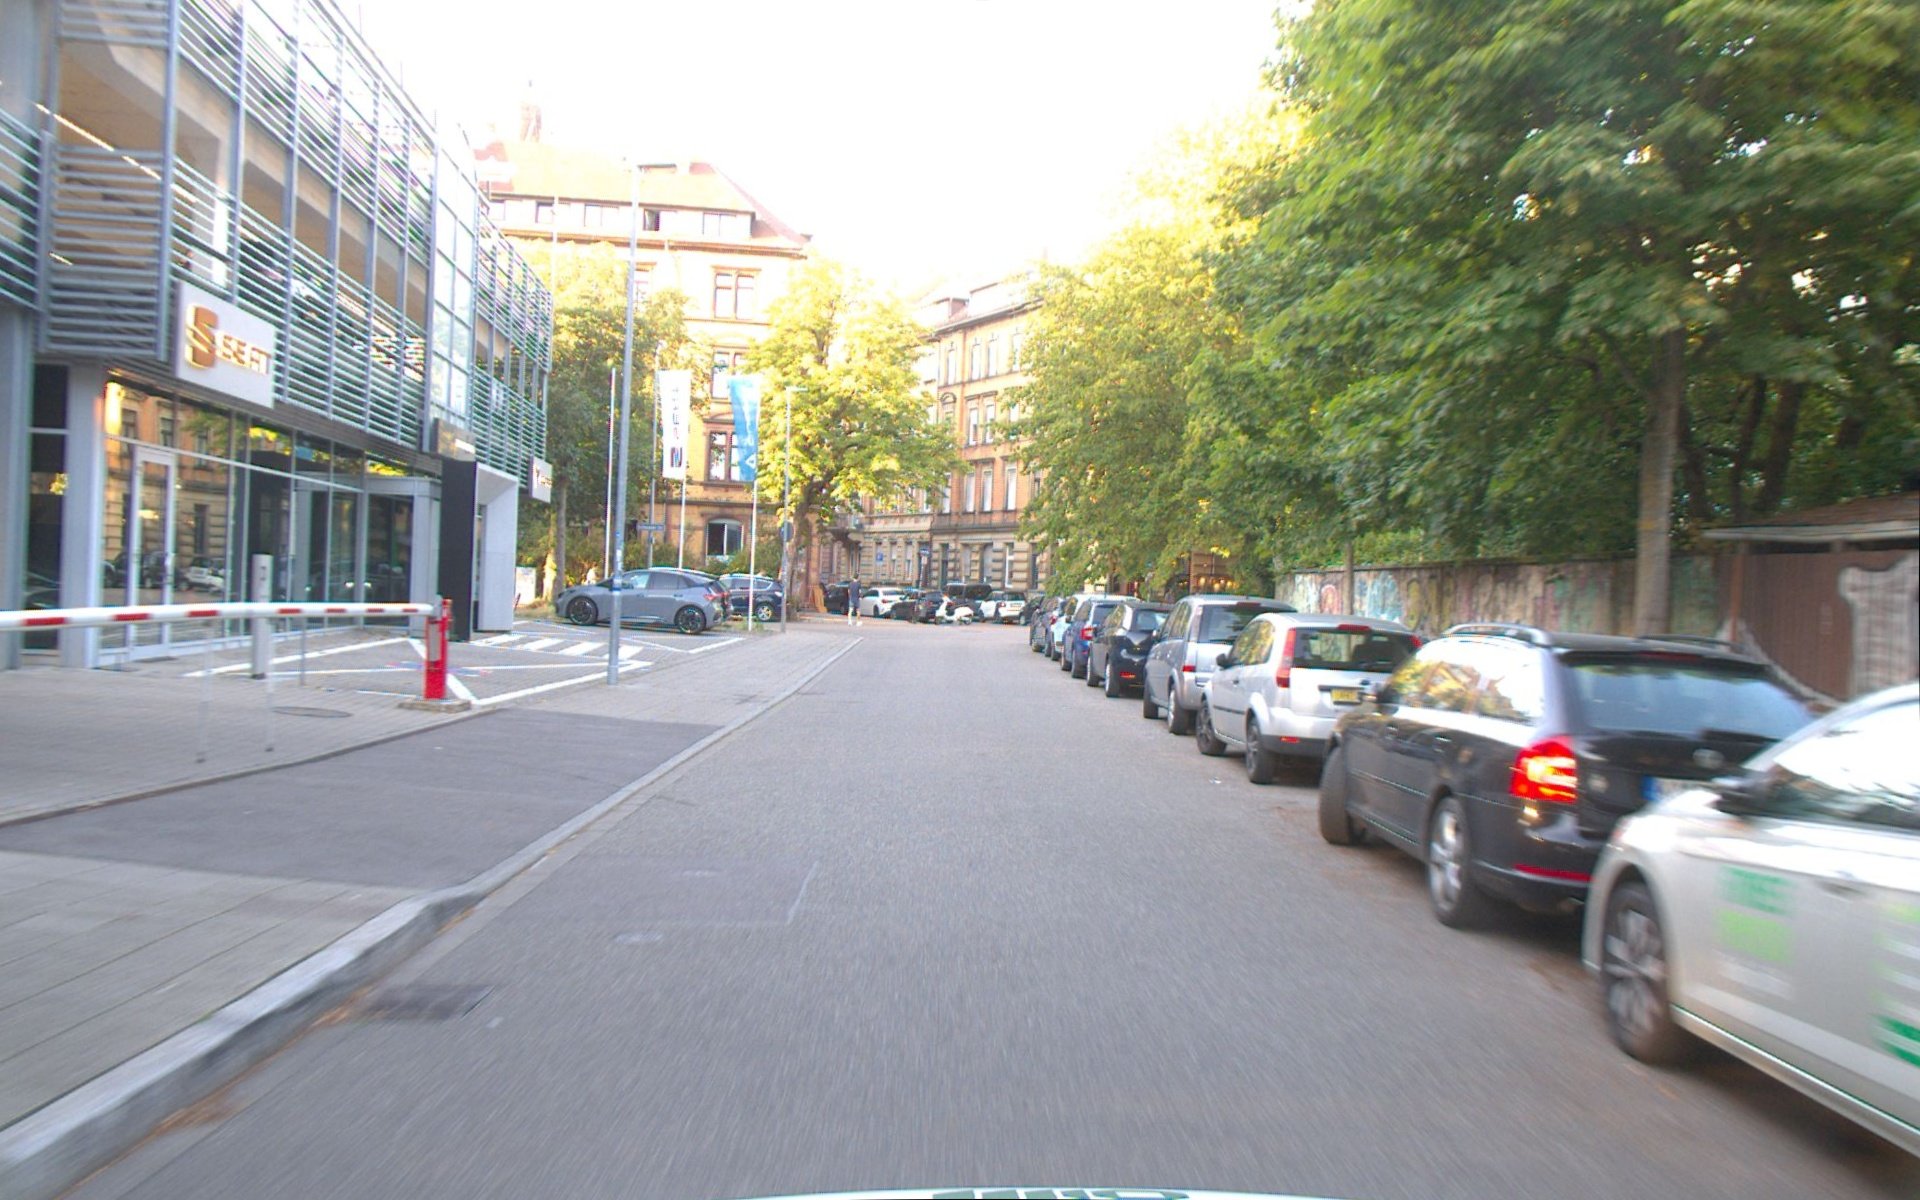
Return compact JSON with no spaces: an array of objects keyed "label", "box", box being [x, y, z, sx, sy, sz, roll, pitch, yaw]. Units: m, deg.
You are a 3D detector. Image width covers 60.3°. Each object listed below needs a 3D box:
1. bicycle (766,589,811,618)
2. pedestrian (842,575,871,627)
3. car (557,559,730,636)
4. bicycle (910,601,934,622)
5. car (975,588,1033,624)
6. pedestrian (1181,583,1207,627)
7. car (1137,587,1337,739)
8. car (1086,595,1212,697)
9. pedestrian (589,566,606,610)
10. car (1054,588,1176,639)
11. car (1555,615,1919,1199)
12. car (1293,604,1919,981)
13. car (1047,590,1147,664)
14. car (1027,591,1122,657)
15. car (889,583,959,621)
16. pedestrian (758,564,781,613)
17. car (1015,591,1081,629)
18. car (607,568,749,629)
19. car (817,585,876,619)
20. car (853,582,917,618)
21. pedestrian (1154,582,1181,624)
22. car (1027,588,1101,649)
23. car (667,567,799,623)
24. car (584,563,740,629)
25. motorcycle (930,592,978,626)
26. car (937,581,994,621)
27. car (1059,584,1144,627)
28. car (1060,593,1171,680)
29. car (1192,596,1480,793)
[{"label":"bicycle","box":[-6.643,0.143,64.138,1.650,1.046,0.442,2,1,-25]},{"label":"pedestrian","box":[-3.764,0.025,60.040,0.724,1.835,1.115,2,1,-21]},{"label":"car","box":[-8.091,-0.094,42.575,4.047,1.645,1.912,4,1,-3]},{"label":"bicycle","box":[-1.559,0.462,67.535,0.416,0.836,1.462,2,1,21]},{"label":"car","box":[2.040,0.265,77.990,1.653,1.552,2.746,3,1,-25]},{"label":"pedestrian","box":[9.985,0.212,70.605,0.760,1.835,0.840,2,1,-16]},{"label":"car","box":[3.309,0.693,20.448,1.723,1.632,3.873,2,0,-1]},{"label":"car","box":[3.075,0.705,27.465,1.564,1.502,3.773,2,0,-1]},{"label":"pedestrian","box":[-13.981,-0.452,63.744,0.532,1.663,0.448,2,1,-5]},{"label":"car","box":[5.024,0.452,53.287,1.849,1.492,3.946,4,1,42]},{"label":"car","box":[3.285,0.871,4.603,1.723,1.467,4.005,2,1,-1]},{"label":"car","box":[3.223,0.831,9.280,1.723,1.480,4.392,2,1,-1]},{"label":"car","box":[3.002,0.557,36.960,1.662,1.502,3.557,2,0,-4]},{"label":"car","box":[2.809,0.566,41.410,1.662,1.502,4.208,2,0,-5]},{"label":"car","box":[-1.606,0.081,72.919,1.633,1.455,3.961,2,2,-24]},{"label":"pedestrian","box":[-7.468,-0.459,64.879,0.799,1.884,0.802,2,1,-5]},{"label":"car","box":[3.954,0.421,74.570,1.653,1.552,3.219,2,1,-25]},{"label":"car","box":[-8.484,-0.058,50.013,3.967,1.500,1.919,4,1,-5]},{"label":"car","box":[-5.643,0.067,81.763,1.633,1.455,3.867,2,2,-25]},{"label":"car","box":[-3.536,-0.030,77.333,1.632,1.455,4.139,3,2,-23]},{"label":"pedestrian","box":[9.104,0.131,72.634,0.828,1.835,0.771,2,1,-21]},{"label":"car","box":[2.879,0.488,46.445,1.661,1.598,3.970,2,0,-2]},{"label":"car","box":[-8.401,-0.191,61.479,4.737,1.762,1.918,3,1,-7]},{"label":"car","box":[-8.208,-0.125,45.816,3.986,1.646,1.764,2,1,-3]},{"label":"motorcycle","box":[-0.254,0.373,69.670,1.897,1.364,0.576,2,1,-11]},{"label":"car","box":[0.251,0.054,81.505,1.653,1.813,2.992,2,1,-25]},{"label":"car","box":[5.949,0.208,70.064,1.890,1.552,3.867,2,2,-25]},{"label":"car","box":[2.949,0.655,32.089,1.660,1.502,4.116,2,0,-1]},{"label":"car","box":[3.346,0.772,15.462,1.723,1.466,3.873,2,1,-1]}]
